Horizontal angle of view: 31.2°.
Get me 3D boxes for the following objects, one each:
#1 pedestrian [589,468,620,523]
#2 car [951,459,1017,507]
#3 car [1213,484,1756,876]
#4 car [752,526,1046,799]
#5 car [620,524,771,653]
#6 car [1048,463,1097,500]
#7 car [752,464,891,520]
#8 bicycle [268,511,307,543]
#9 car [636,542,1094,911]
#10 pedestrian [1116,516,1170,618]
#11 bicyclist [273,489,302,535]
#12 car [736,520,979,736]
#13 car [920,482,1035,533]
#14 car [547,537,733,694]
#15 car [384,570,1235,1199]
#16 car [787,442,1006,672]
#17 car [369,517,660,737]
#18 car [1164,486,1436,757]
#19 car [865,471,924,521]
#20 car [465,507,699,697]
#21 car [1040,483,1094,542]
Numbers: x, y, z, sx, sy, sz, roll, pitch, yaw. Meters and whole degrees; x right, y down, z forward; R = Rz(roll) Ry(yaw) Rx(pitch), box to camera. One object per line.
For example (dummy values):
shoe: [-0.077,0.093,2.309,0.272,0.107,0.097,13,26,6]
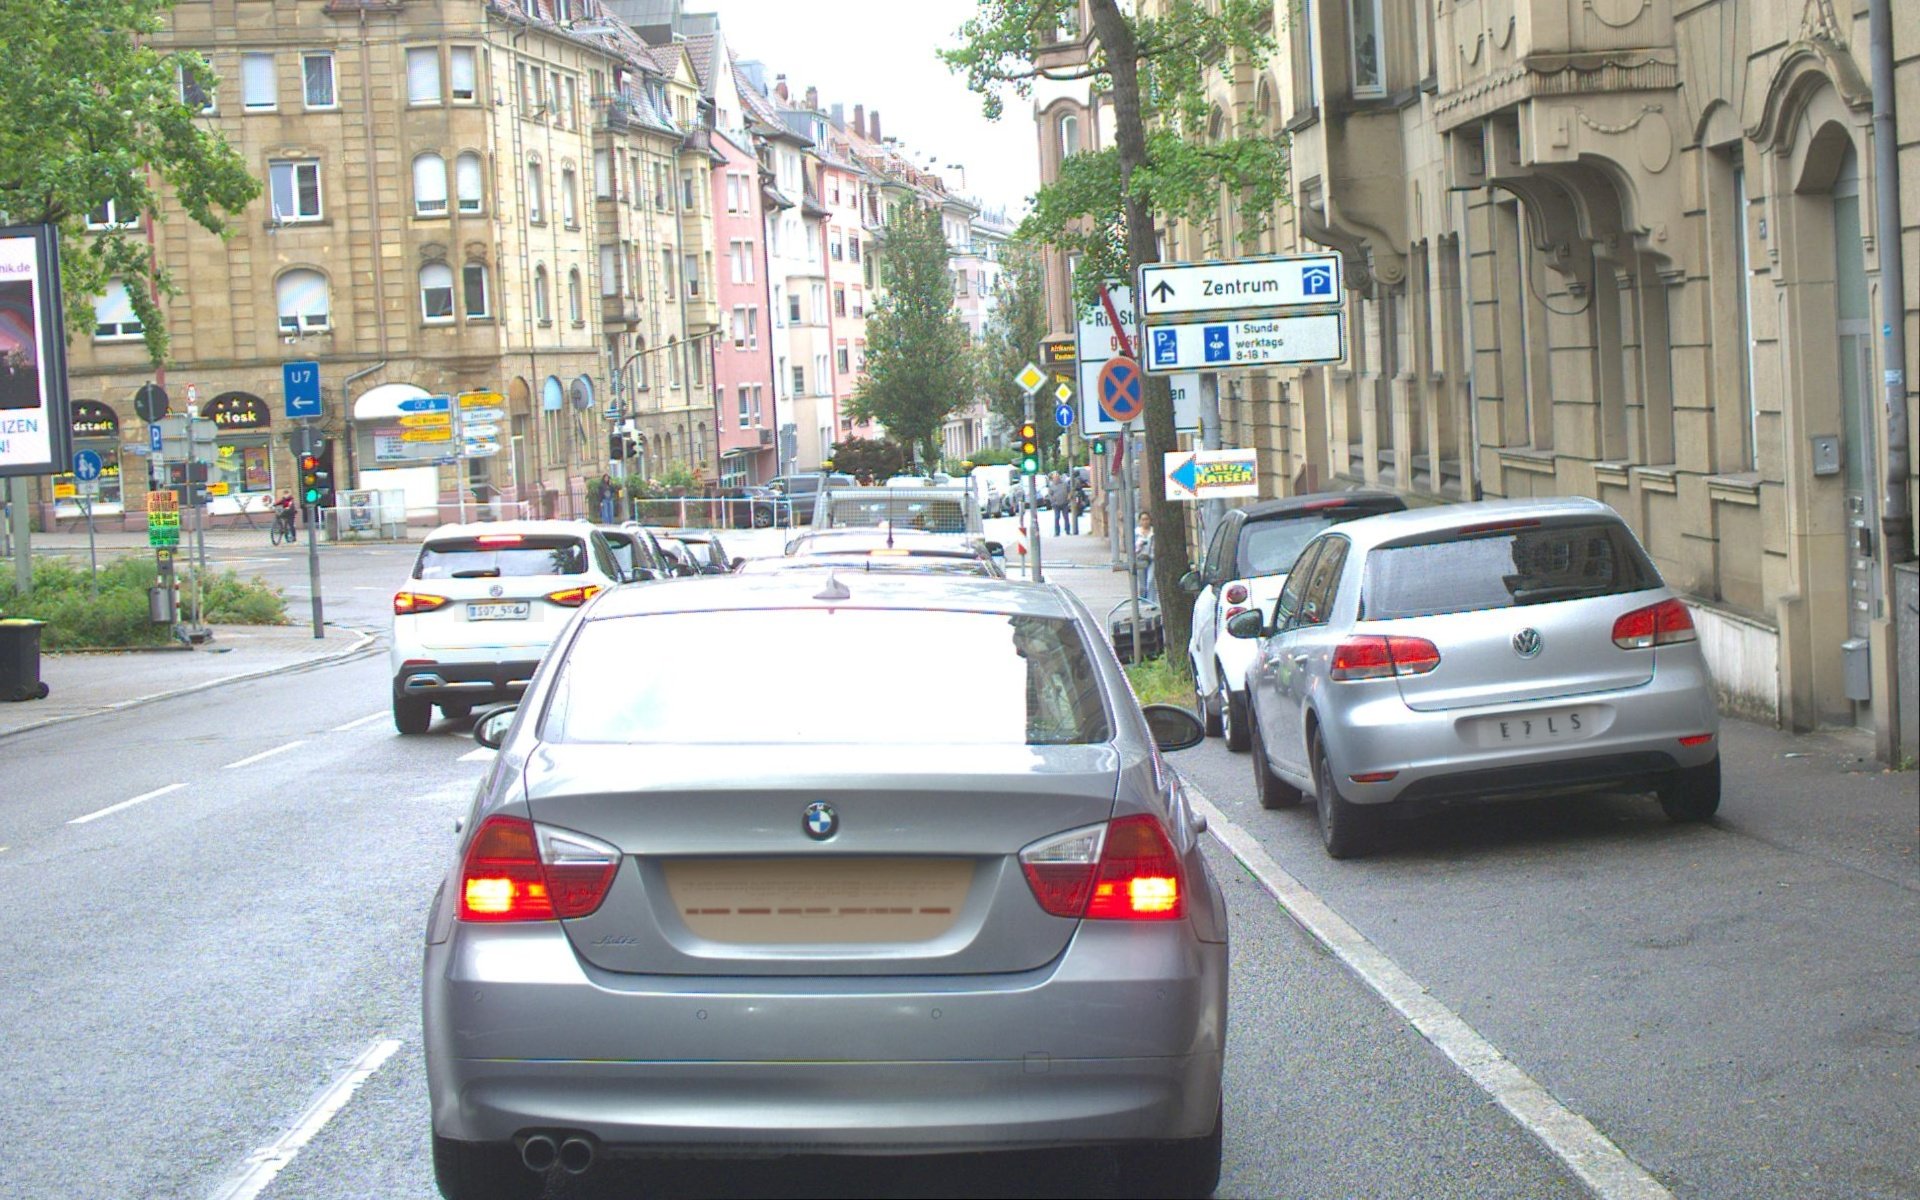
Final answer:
pedestrian: [-10.479,-3.082,101.354,0.732,1.572,0.528,-2,1,8]
car: [0.857,-4.099,120.560,1.994,1.573,3.999,1,1,5]
car: [2.330,0.288,16.286,1.759,1.446,4.000,-6,1,-1]
car: [-0.318,0.300,20.788,1.595,1.459,4.000,1,1,1]
car: [-3.676,-0.202,48.327,1.759,1.702,4.000,-1,1,1]
car: [3.784,-3.992,116.169,1.434,1.170,3.435,1,1,-2]
car: [-5.201,-4.060,129.836,5.176,2.007,2.699,1,1,-1]
bicycle: [-18.852,-2.042,96.414,0.573,0.855,1.521,1,1,10]
car: [-0.348,0.458,15.348,1.759,1.378,4.000,-1,1,1]
pedestrian: [2.825,-0.514,53.024,0.631,1.503,0.693,-6,1,-1]
bicyclist: [-18.863,-2.464,96.379,0.569,1.268,0.689,1,0,11]
car: [-0.745,0.159,27.361,1.759,1.562,4.000,-1,1,1]
car: [0.589,-3.060,113.955,1.997,1.573,3.993,1,1,32]
car: [-3.714,0.141,40.474,1.759,1.702,4.000,-1,1,1]
car: [-0.271,0.659,8.428,1.623,1.378,3.615,-1,1,1]
car: [-0.608,-0.426,33.487,1.993,2.099,4.000,0,1,-1]
car: [-3.511,0.154,27.762,1.868,1.620,4.000,-1,1,-1]
car: [2.183,0.099,22.645,1.299,1.537,2.976,-6,1,-1]
car: [-1.995,-3.146,104.811,1.715,1.445,3.743,-2,1,-1]
car: [-3.588,-0.035,33.252,1.759,1.702,4.000,-1,1,1]
car: [3.879,-3.173,124.762,1.686,2.006,4.000,-3,2,-1]
